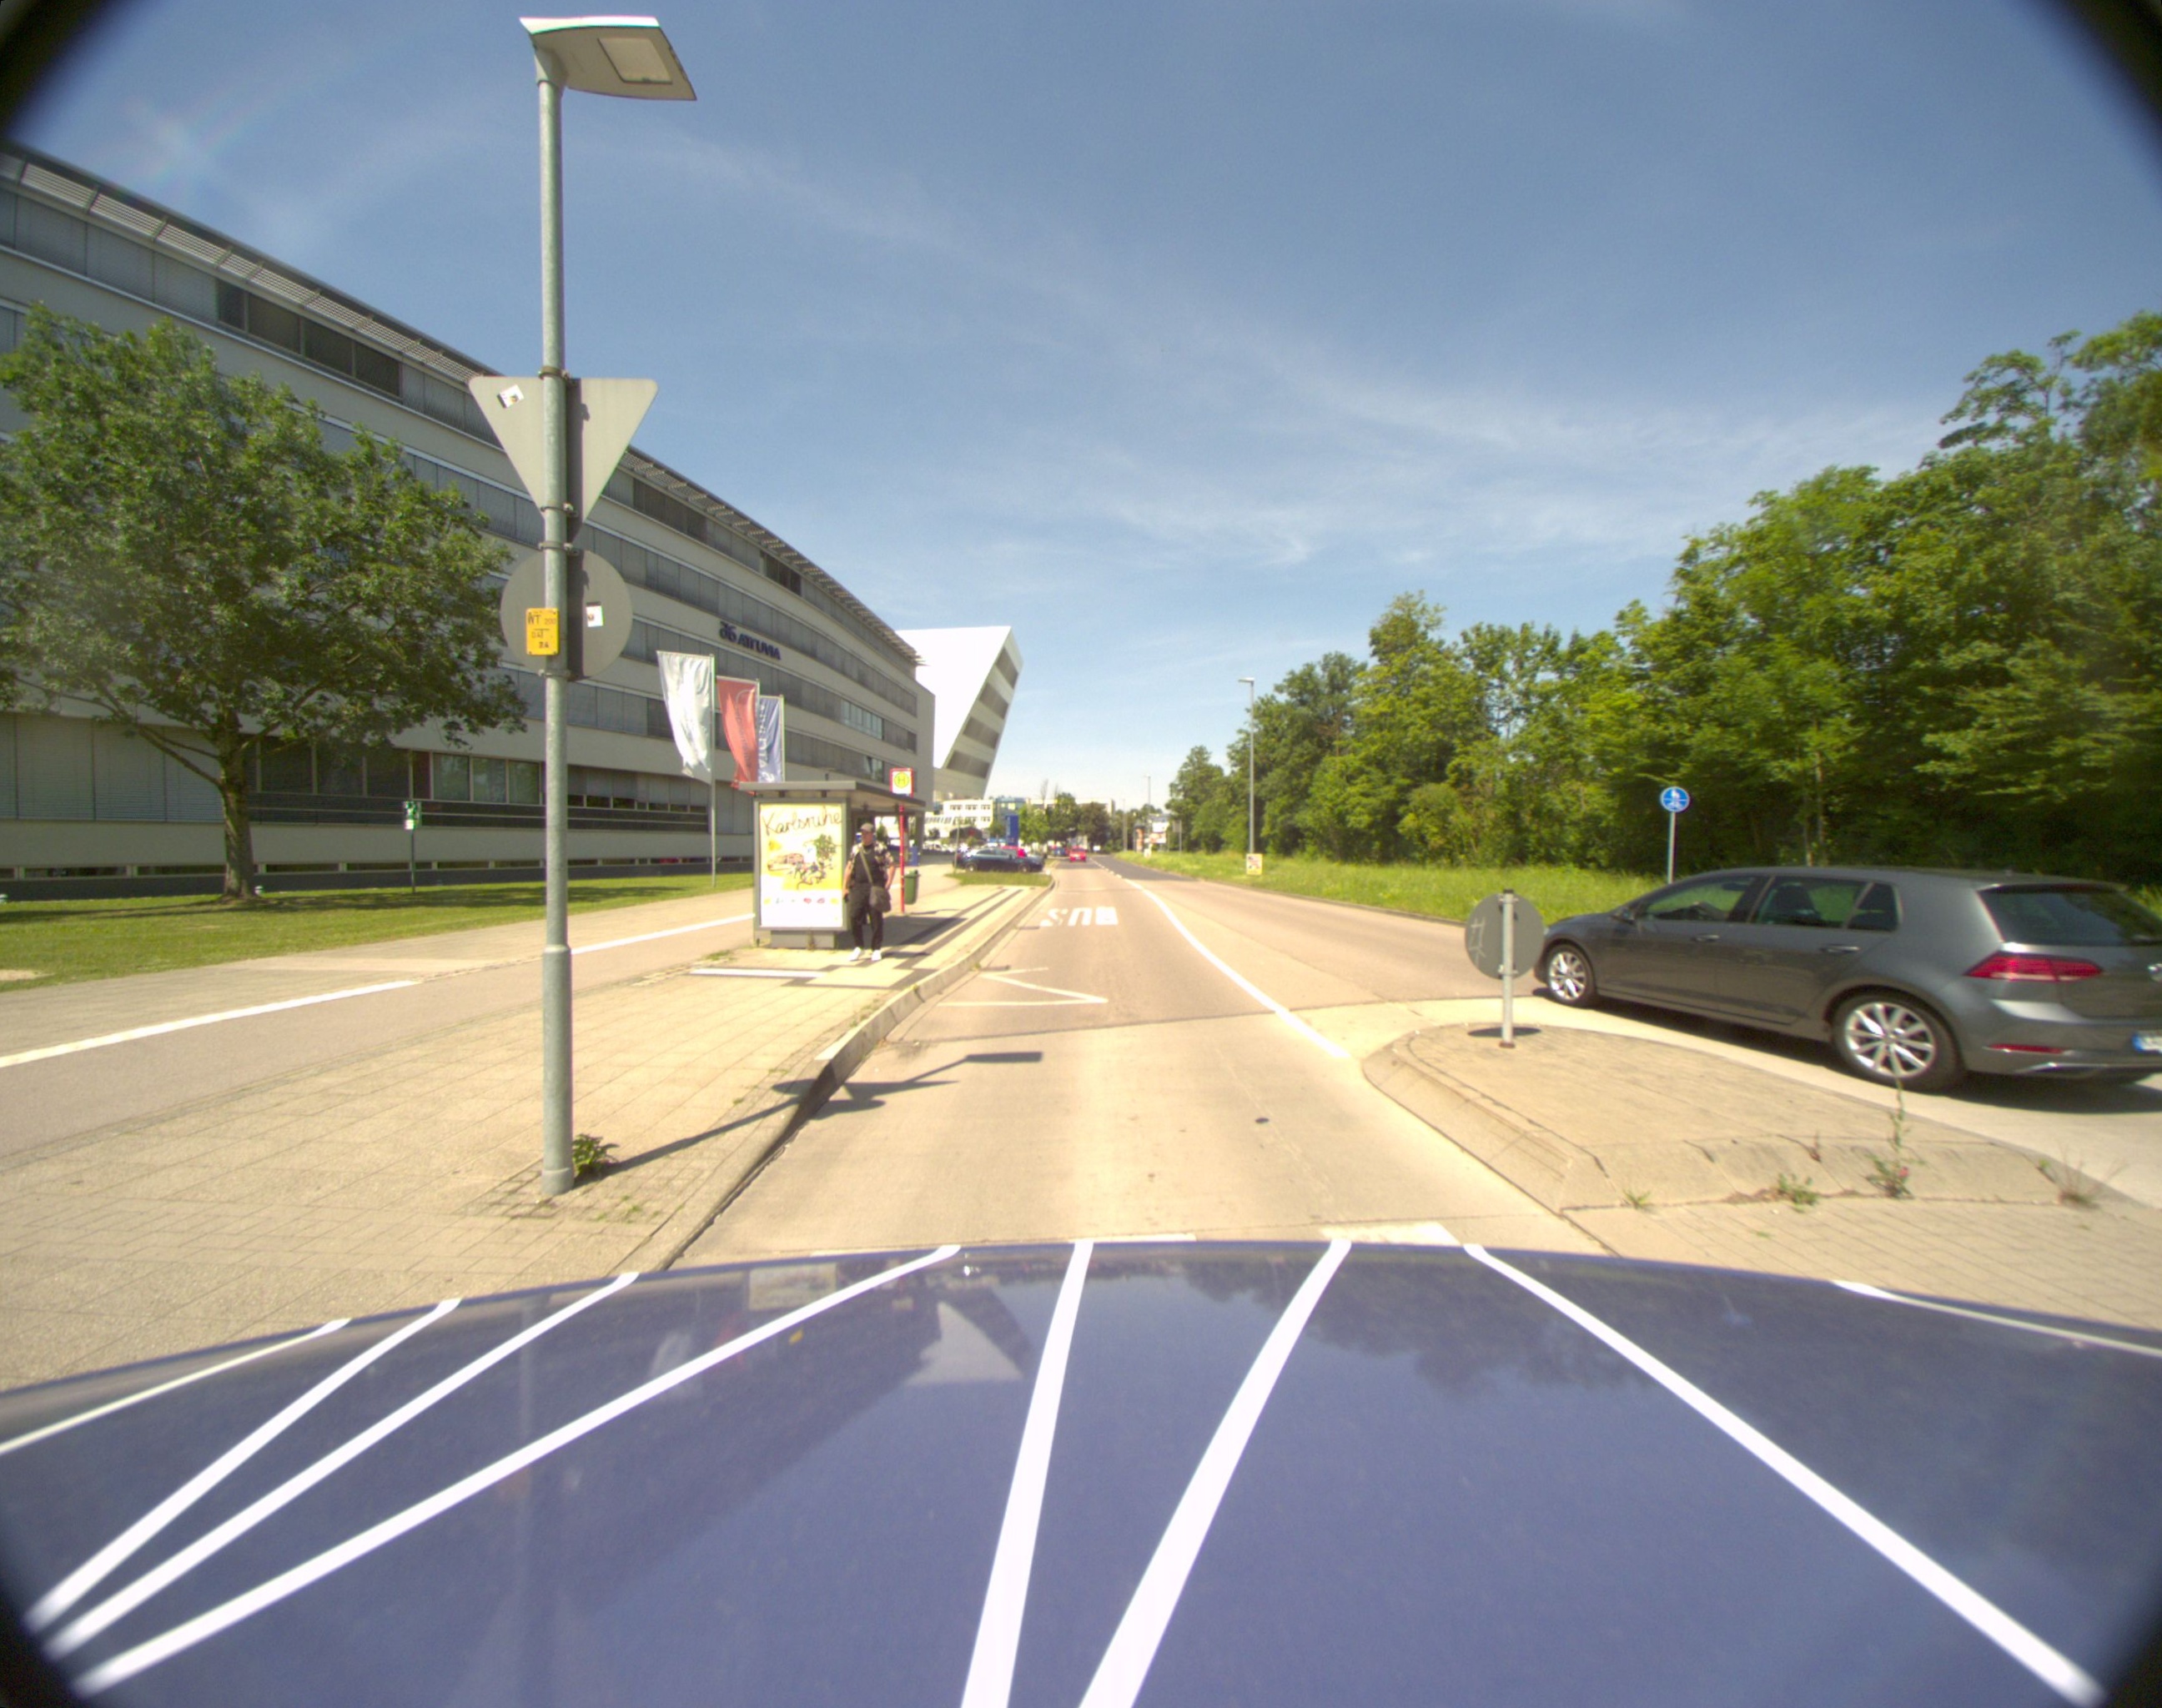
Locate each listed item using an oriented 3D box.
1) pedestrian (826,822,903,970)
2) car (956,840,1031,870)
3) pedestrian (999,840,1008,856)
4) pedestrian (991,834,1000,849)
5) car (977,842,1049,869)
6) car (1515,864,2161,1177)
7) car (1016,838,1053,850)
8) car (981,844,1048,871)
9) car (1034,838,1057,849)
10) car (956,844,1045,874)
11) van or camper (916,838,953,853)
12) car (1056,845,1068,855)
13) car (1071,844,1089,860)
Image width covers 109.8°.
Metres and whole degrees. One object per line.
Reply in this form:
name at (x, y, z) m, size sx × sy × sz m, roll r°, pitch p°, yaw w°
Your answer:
pedestrian at (-2.772, 0.519, 9.800) m, size 0.710 × 1.812 × 0.826 m, roll 2°, pitch 2°, yaw 0°
car at (-4.936, 0.049, 43.311) m, size 3.996 × 1.646 × 1.839 m, roll 0°, pitch 1°, yaw 2°
pedestrian at (-8.242, -0.679, 80.845) m, size 0.844 × 1.691 × 0.775 m, roll -1°, pitch 2°, yaw -2°
pedestrian at (-9.116, -1.327, 80.812) m, size 0.844 × 1.650 × 0.775 m, roll -1°, pitch 2°, yaw -2°
car at (-4.251, 0.060, 47.988) m, size 4.331 × 1.555 × 1.786 m, roll 1°, pitch 1°, yaw 0°
car at (5.874, 0.863, 6.001) m, size 2.000 × 1.470 × 4.285 m, roll 1°, pitch 0°, yaw -8°
car at (-8.707, -1.819, 141.660) m, size 6.492 × 2.137 × 2.165 m, roll -1°, pitch 1°, yaw 6°
car at (-3.981, 0.189, 45.573) m, size 3.816 × 1.477 × 1.655 m, roll 1°, pitch 1°, yaw 2°
car at (-6.873, -1.987, 147.414) m, size 4.204 × 1.964 × 1.704 m, roll -1°, pitch 2°, yaw 6°
car at (-4.260, 0.265, 40.724) m, size 4.580 × 1.424 × 1.826 m, roll 2°, pitch 1°, yaw -3°
van or camper at (-23.990, -1.389, 124.445) m, size 5.699 × 2.377 × 1.704 m, roll -1°, pitch 2°, yaw 6°
car at (-3.031, -0.675, 122.852) m, size 1.802 × 1.490 × 3.998 m, roll -1°, pitch 1°, yaw -1°
car at (-0.066, -0.190, 75.640) m, size 1.662 × 1.495 × 3.356 m, roll -1°, pitch 1°, yaw 2°
